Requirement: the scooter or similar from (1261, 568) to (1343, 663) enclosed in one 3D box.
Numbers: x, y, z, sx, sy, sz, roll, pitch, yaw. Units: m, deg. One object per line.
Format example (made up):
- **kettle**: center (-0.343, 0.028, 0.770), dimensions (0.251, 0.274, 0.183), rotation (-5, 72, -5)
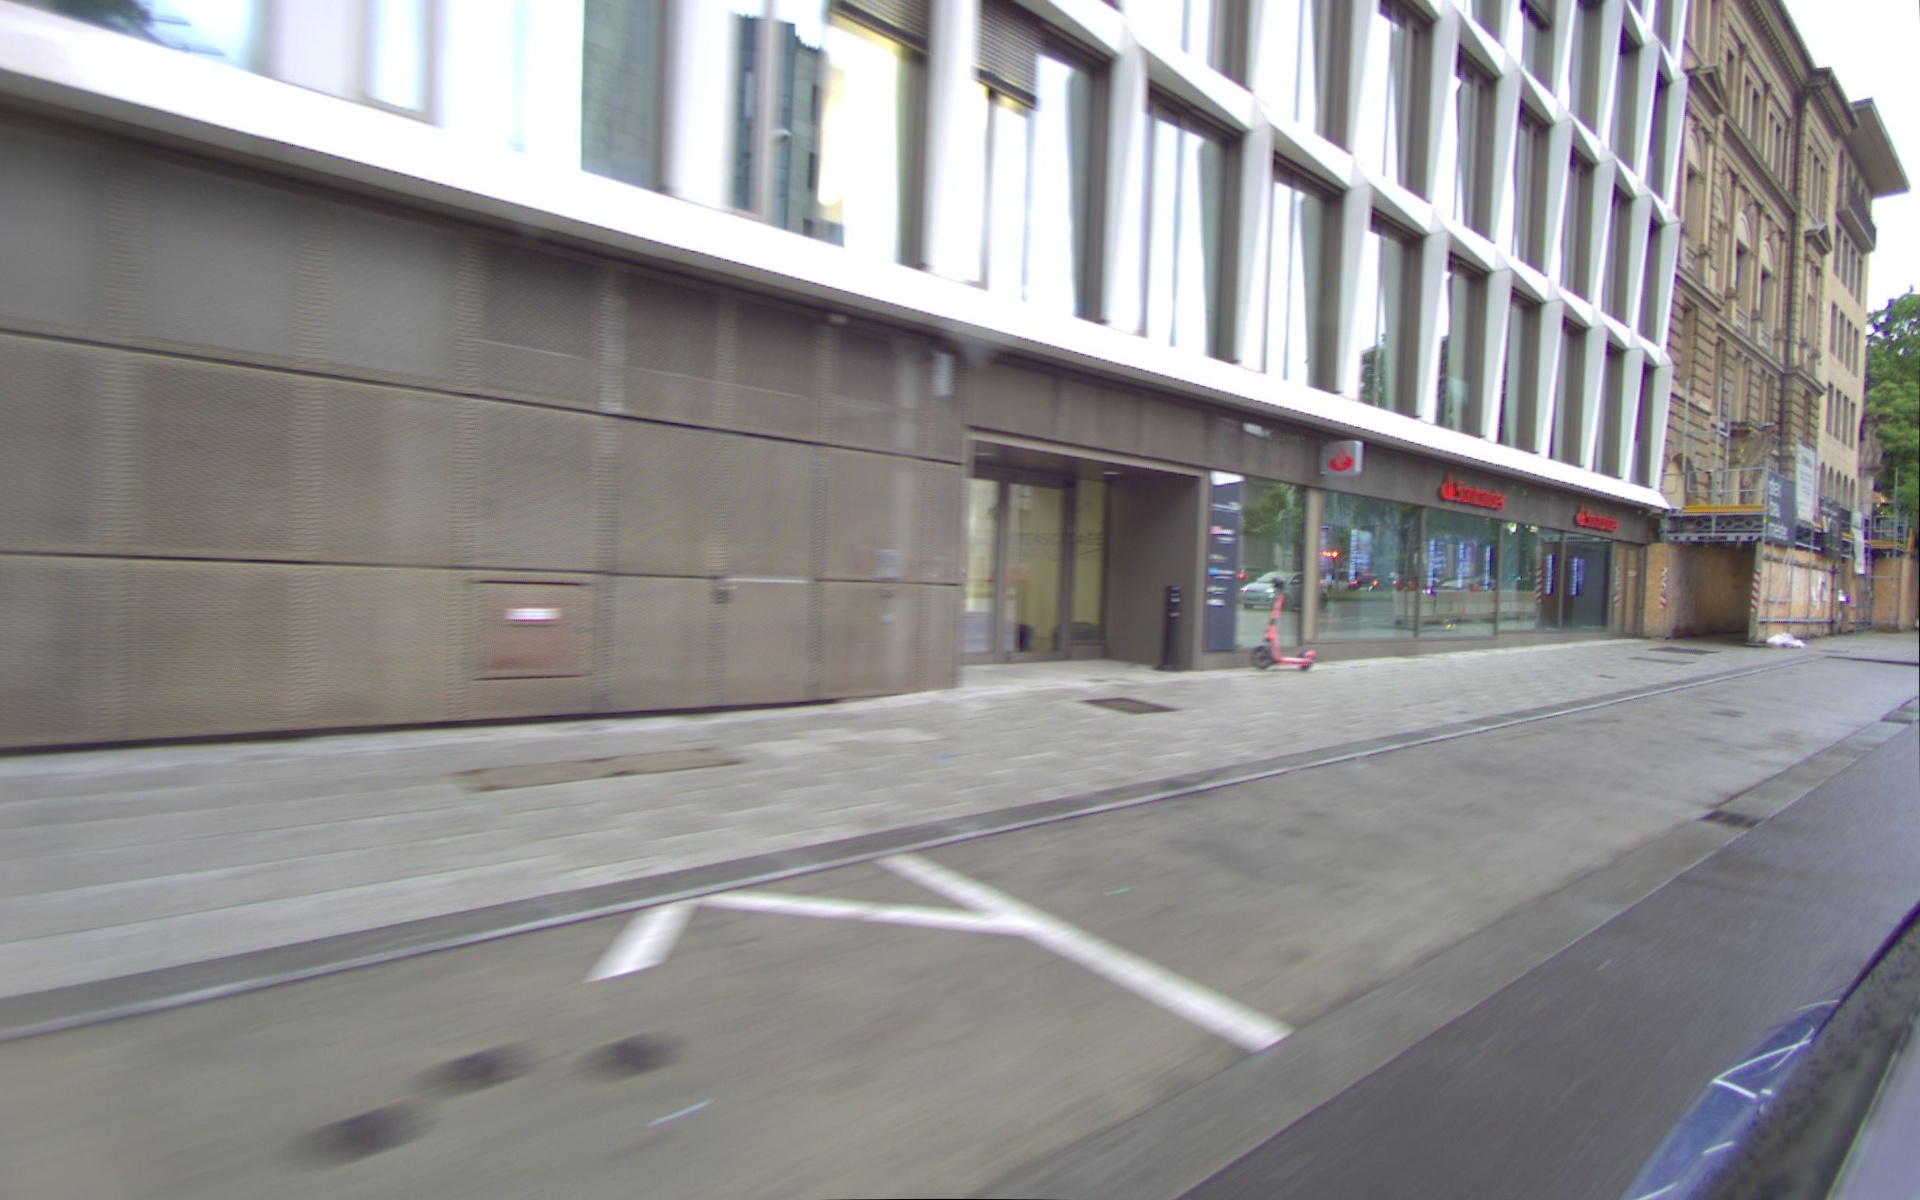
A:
- **scooter or similar**: center (4.699, 0.199, 13.887), dimensions (1.166, 1.251, 0.413), rotation (0, 1, -32)
